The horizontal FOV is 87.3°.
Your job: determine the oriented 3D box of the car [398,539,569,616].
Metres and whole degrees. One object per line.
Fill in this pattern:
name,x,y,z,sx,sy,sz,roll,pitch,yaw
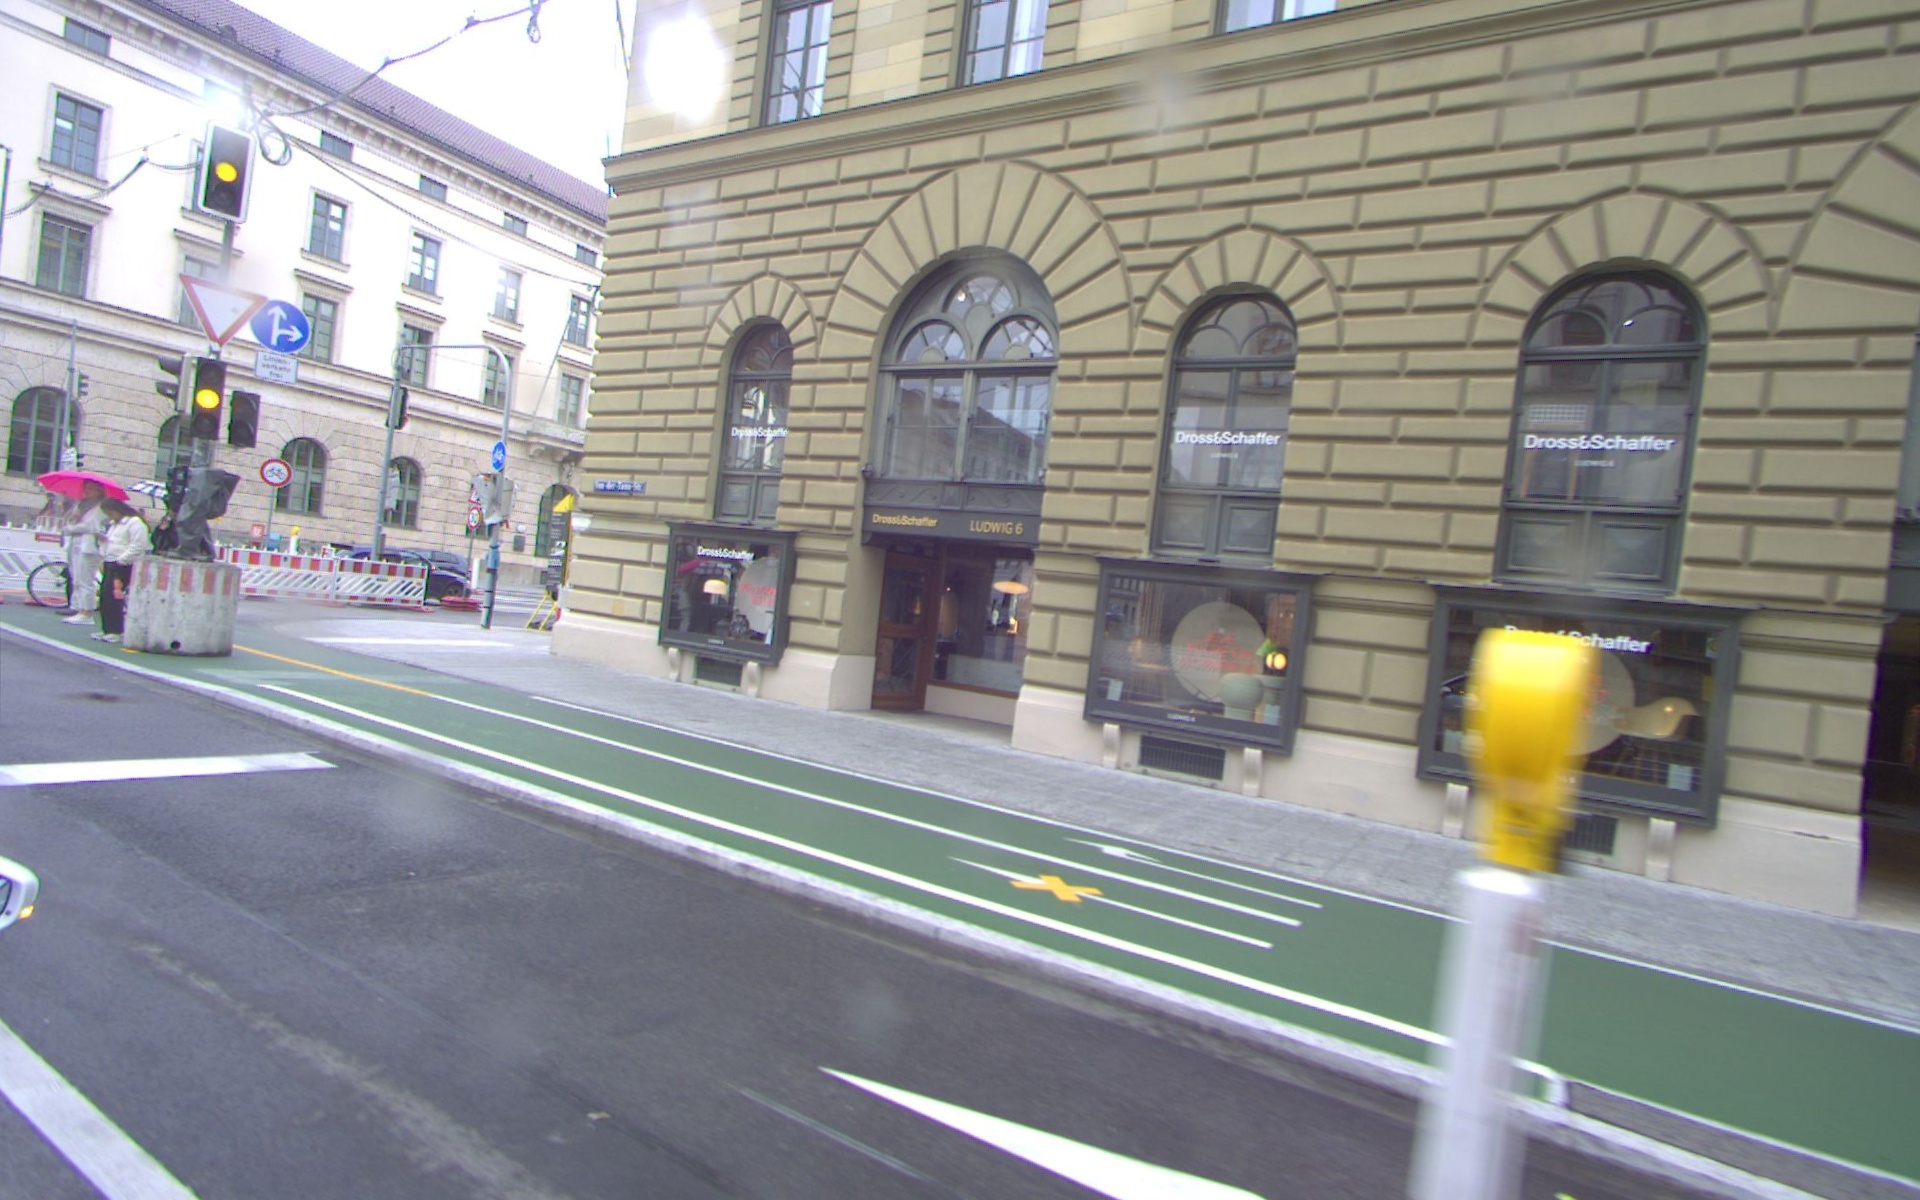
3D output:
car,-13.537,-0.596,28.816,1.745,1.635,3.994,7,-1,32

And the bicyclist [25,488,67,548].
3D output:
bicyclist,-30.374,-2.714,33.432,0.650,1.864,0.744,7,0,34

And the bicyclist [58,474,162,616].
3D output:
bicyclist,-12.004,-0.759,14.233,0.787,1.876,0.566,7,0,-17

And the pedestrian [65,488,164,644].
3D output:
pedestrian,-9.464,-0.375,11.263,0.663,1.639,0.532,7,0,34

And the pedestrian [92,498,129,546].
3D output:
pedestrian,-32.788,-2.995,38.827,0.806,1.714,0.716,7,0,33

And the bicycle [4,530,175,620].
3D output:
bicycle,-12.227,-0.342,14.183,1.632,1.023,0.585,8,-1,-17

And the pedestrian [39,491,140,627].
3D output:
pedestrian,-10.897,-0.503,12.598,0.532,1.586,0.703,7,0,34

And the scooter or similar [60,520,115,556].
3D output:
scooter or similar,-29.102,-2.055,33.563,0.578,0.976,1.212,7,-1,33

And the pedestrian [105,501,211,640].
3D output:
pedestrian,-9.846,-0.358,12.361,0.671,1.586,0.703,7,0,34

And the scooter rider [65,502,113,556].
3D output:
scooter rider,-29.061,-2.375,33.567,0.583,1.642,0.933,7,0,33

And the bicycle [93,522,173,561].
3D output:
bicycle,-29.106,-2.046,35.449,0.782,1.053,1.960,7,-1,34

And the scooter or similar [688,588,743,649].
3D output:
scooter or similar,-5.482,0.426,22.611,0.345,1.265,1.138,7,-1,34

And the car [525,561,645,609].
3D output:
car,-15.874,-0.592,42.824,1.762,1.586,4.567,4,-2,31

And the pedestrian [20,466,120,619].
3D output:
pedestrian,-11.791,-0.758,13.328,0.631,1.907,0.703,7,0,36

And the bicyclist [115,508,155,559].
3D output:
bicyclist,-29.064,-2.333,35.448,0.782,1.634,0.744,7,0,34

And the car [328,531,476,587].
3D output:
car,-19.731,-1.417,35.739,1.720,1.404,4.234,5,-2,31

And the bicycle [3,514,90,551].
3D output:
bicycle,-30.388,-2.242,33.500,0.651,0.890,1.974,7,-1,34

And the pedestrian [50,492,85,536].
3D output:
pedestrian,-33.929,-3.264,38.245,0.806,1.545,0.666,7,0,31
